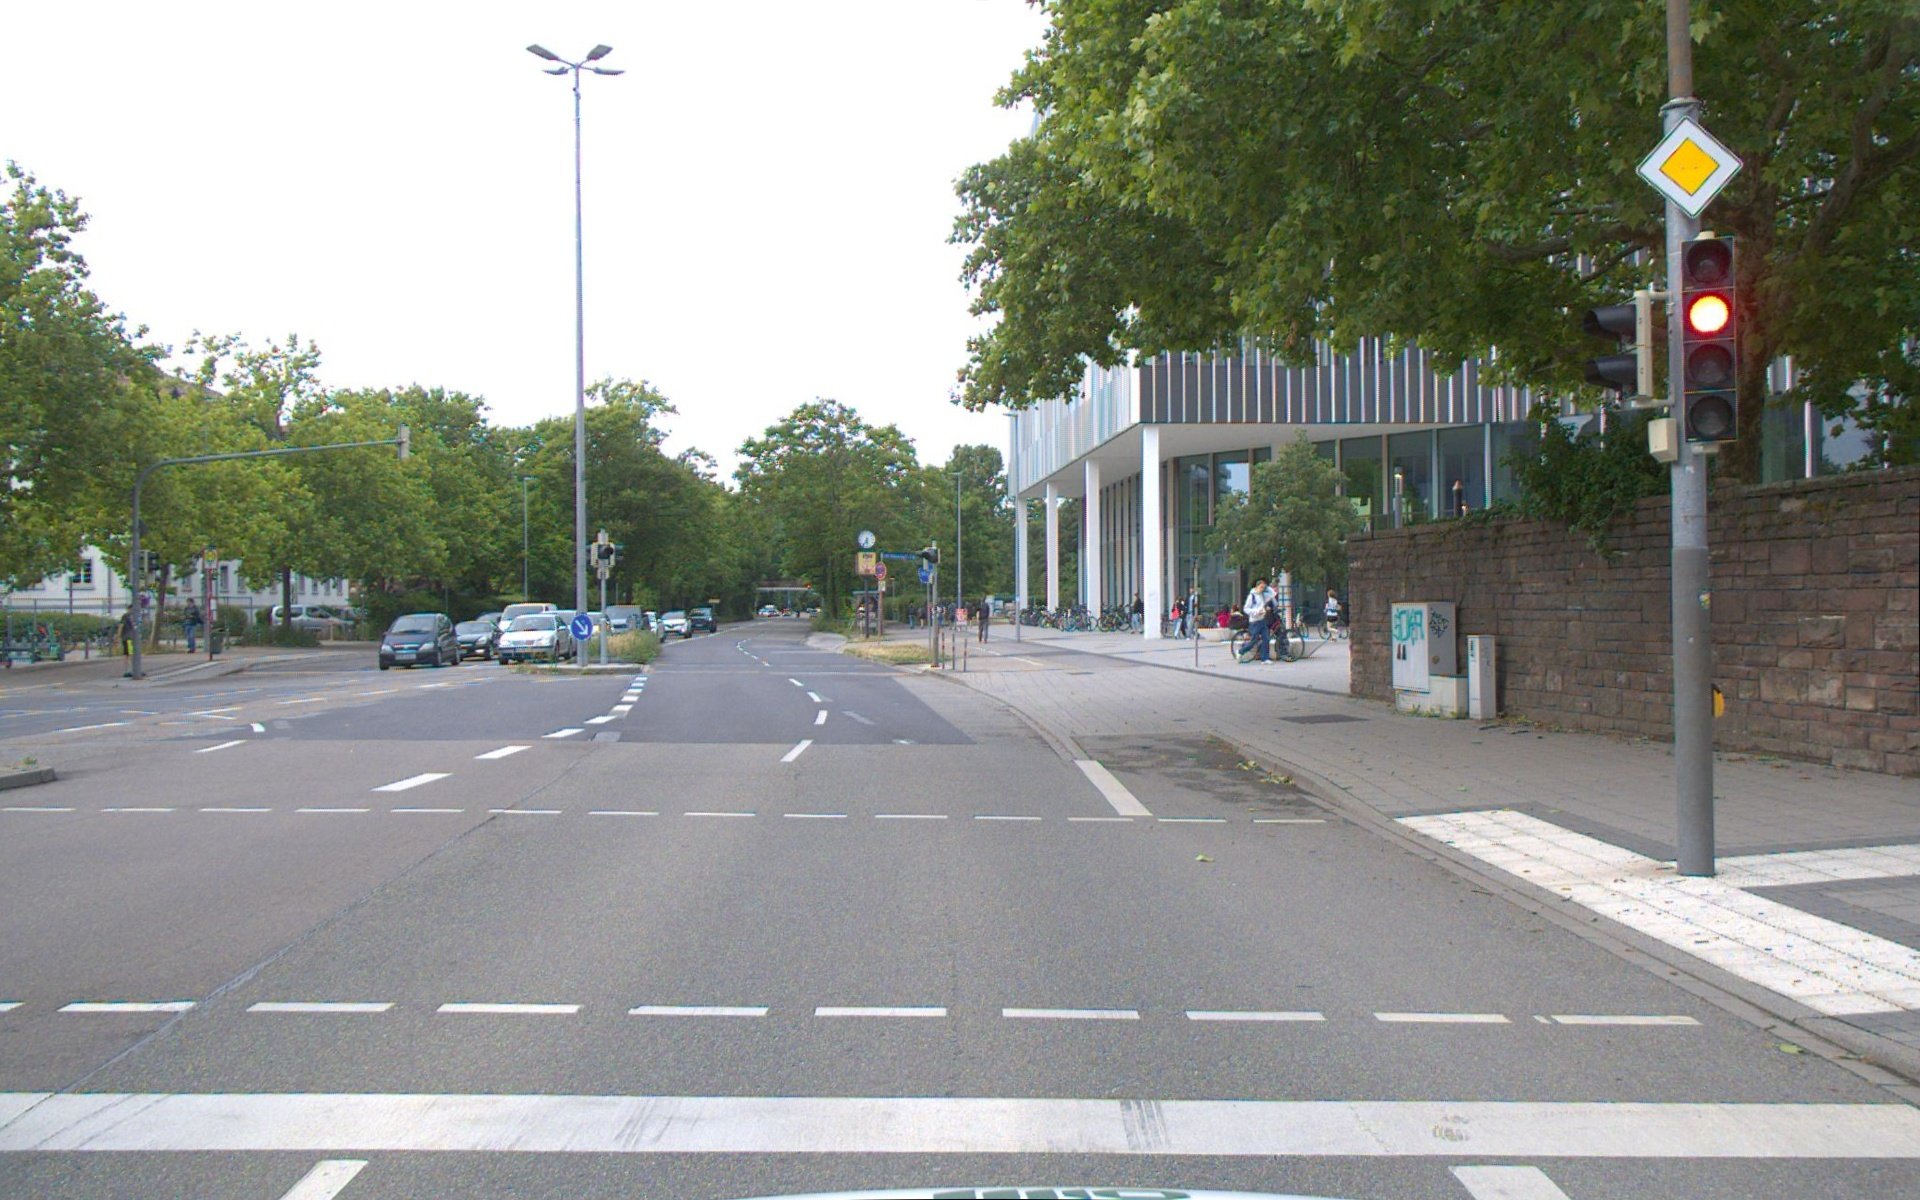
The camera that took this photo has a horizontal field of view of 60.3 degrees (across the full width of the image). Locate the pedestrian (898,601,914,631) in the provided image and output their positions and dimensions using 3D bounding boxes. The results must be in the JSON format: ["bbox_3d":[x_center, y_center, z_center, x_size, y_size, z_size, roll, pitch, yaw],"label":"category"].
[{"bbox_3d":[-3.628,1.076,111.235,0.908,2.049,1.037,-1,0,-9],"label":"pedestrian"}]

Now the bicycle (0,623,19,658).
[{"bbox_3d":[-33.170,1.388,56.151,2.002,1.173,0.716,-1,0,-23],"label":"bicycle"}]

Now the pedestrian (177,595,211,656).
[{"bbox_3d":[-25.711,0.849,55.525,0.787,2.049,0.923,1,-1,-11],"label":"pedestrian"}]

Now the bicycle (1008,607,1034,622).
[{"bbox_3d":[3.840,0.899,103.709,1.575,0.890,0.556,-2,0,-4],"label":"bicycle"}]

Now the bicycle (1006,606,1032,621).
[{"bbox_3d":[3.749,0.822,104.663,1.575,0.890,0.556,-2,0,-4],"label":"bicycle"}]

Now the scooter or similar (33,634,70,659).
[{"bbox_3d":[-27.349,1.406,49.797,0.398,0.706,1.288,1,0,-2],"label":"scooter or similar"}]

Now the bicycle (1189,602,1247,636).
[{"bbox_3d":[9.572,0.693,61.274,0.761,1.208,2.702,-1,0,43],"label":"bicycle"}]

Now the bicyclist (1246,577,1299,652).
[{"bbox_3d":[7.032,0.319,37.245,0.950,1.674,0.733,1,-1,35],"label":"bicyclist"}]

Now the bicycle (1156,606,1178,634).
[{"bbox_3d":[8.091,0.771,64.704,0.625,1.080,1.840,1,0,0],"label":"bicycle"}]

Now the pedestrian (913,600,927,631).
[{"bbox_3d":[-2.668,1.038,111.109,0.809,2.049,0.719,-1,0,-9],"label":"pedestrian"}]

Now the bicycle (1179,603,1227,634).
[{"bbox_3d":[9.200,0.700,62.648,0.723,1.135,2.170,-1,0,42],"label":"bicycle"}]

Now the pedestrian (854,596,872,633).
[{"bbox_3d":[-5.558,0.804,94.670,0.895,2.048,0.853,-3,2,-6],"label":"pedestrian"}]

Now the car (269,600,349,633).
[{"bbox_3d":[-33.680,0.831,85.604,3.517,1.630,1.649,1,0,-7],"label":"car"}]

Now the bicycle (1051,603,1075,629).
[{"bbox_3d":[4.958,0.774,79.538,0.624,1.160,2.196,-4,0,-9],"label":"bicycle"}]

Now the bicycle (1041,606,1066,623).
[{"bbox_3d":[5.084,0.774,90.119,1.258,0.890,0.556,-2,0,-4],"label":"bicycle"}]

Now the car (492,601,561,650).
[{"bbox_3d":[-17.219,0.996,65.847,1.736,1.880,4.486,1,0,-3],"label":"car"}]

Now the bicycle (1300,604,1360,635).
[{"bbox_3d":[12.805,0.677,57.183,2.166,1.023,0.772,-1,-2,-35],"label":"bicycle"}]

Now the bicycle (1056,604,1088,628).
[{"bbox_3d":[5.791,0.828,85.367,1.610,1.110,0.572,-4,0,4],"label":"bicycle"}]

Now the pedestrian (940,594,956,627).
[{"bbox_3d":[-0.736,0.654,102.645,0.907,2.049,1.038,-1,0,-5],"label":"pedestrian"}]

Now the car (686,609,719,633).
[{"bbox_3d":[-17.764,1.435,114.131,1.866,1.621,4.512,-1,0,-5],"label":"car"}]

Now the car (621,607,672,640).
[{"bbox_3d":[-14.873,1.104,78.660,1.866,1.491,4.906,1,0,-5],"label":"car"}]

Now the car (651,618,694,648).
[{"bbox_3d":[-16.391,1.875,94.477,1.955,1.574,4.175,-2,0,-5],"label":"car"}]

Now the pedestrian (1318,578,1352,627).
[{"bbox_3d":[16.229,0.094,71.613,1.159,2.098,1.133,1,-1,29],"label":"pedestrian"}]

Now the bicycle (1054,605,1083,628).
[{"bbox_3d":[5.459,0.820,83.180,1.373,1.062,0.558,-3,0,-4],"label":"bicycle"}]

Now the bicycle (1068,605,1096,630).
[{"bbox_3d":[5.668,0.821,76.787,0.598,1.099,1.954,-3,0,-16],"label":"bicycle"}]

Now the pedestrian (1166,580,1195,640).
[{"bbox_3d":[7.670,0.353,57.491,0.826,2.049,0.894,-1,0,-3],"label":"pedestrian"}]

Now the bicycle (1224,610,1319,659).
[{"bbox_3d":[6.998,0.771,37.201,1.935,1.036,0.794,1,0,34],"label":"bicycle"}]

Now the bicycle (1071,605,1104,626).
[{"bbox_3d":[6.340,0.776,82.375,1.572,0.952,0.569,-3,0,6],"label":"bicycle"}]

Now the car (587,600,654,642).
[{"bbox_3d":[-14.540,0.879,71.112,1.953,1.717,4.946,1,0,-2],"label":"car"}]

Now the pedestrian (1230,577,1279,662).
[{"bbox_3d":[6.444,0.426,36.204,0.768,1.827,0.786,-1,0,38],"label":"pedestrian"}]

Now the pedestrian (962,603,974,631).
[{"bbox_3d":[0.516,1.036,103.225,0.714,1.713,0.747,1,-1,-1],"label":"pedestrian"}]

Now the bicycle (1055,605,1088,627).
[{"bbox_3d":[5.637,0.810,83.766,1.575,0.999,0.556,-4,0,-5],"label":"bicycle"}]

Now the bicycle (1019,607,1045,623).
[{"bbox_3d":[4.450,0.916,102.152,1.575,0.890,0.556,-2,0,-4],"label":"bicycle"}]

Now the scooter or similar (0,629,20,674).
[{"bbox_3d":[-25.376,1.364,43.743,0.353,1.160,1.318,-1,0,-4],"label":"scooter or similar"}]

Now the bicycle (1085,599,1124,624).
[{"bbox_3d":[7.483,0.597,85.598,1.948,1.164,0.646,-3,0,37],"label":"bicycle"}]

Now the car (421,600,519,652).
[{"bbox_3d":[-16.286,0.840,55.138,1.952,1.648,4.001,-1,0,2],"label":"car"}]

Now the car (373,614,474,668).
[{"bbox_3d":[-15.822,1.178,48.923,1.815,1.489,3.696,-1,0,-1],"label":"car"}]

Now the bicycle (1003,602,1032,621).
[{"bbox_3d":[3.726,0.736,106.663,1.760,1.100,0.625,-3,0,-7],"label":"bicycle"}]

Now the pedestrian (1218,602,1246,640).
[{"bbox_3d":[9.031,0.689,54.900,0.872,1.214,0.846,-1,0,9],"label":"pedestrian"}]

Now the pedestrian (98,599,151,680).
[{"bbox_3d":[-21.498,1.009,42.580,0.877,2.049,1.008,-1,0,-7],"label":"pedestrian"}]

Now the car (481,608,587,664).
[{"bbox_3d":[-12.804,1.046,49.974,1.952,1.556,4.275,-1,0,2],"label":"car"}]

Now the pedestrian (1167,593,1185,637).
[{"bbox_3d":[8.234,0.581,63.047,0.661,1.670,0.654,-1,0,8],"label":"pedestrian"}]

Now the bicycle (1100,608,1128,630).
[{"bbox_3d":[7.008,0.841,75.134,1.477,0.945,0.433,-2,2,-44],"label":"bicycle"}]

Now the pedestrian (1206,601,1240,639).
[{"bbox_3d":[8.639,0.656,54.267,0.826,1.227,0.893,-1,0,29],"label":"pedestrian"}]

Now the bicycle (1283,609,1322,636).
[{"bbox_3d":[12.259,0.792,59.149,0.659,0.914,1.839,-1,0,36],"label":"bicycle"}]

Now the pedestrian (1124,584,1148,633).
[{"bbox_3d":[7.519,0.365,70.716,0.874,2.049,0.844,-1,0,-4],"label":"pedestrian"}]

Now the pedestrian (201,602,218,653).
[{"bbox_3d":[-26.390,0.970,58.141,0.412,1.769,0.433,1,-1,-11],"label":"pedestrian"}]

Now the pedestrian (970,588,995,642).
[{"bbox_3d":[0.885,0.597,64.969,0.826,2.049,0.894,-3,0,-3],"label":"pedestrian"}]

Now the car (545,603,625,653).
[{"bbox_3d":[-13.129,0.958,58.123,1.918,1.611,4.254,-1,1,-2],"label":"car"}]

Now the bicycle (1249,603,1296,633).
[{"bbox_3d":[11.246,0.655,59.473,0.761,1.019,1.947,-1,0,43],"label":"bicycle"}]

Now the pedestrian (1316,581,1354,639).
[{"bbox_3d":[12.289,0.330,54.221,0.837,1.868,0.881,-1,-1,-40],"label":"pedestrian"}]
